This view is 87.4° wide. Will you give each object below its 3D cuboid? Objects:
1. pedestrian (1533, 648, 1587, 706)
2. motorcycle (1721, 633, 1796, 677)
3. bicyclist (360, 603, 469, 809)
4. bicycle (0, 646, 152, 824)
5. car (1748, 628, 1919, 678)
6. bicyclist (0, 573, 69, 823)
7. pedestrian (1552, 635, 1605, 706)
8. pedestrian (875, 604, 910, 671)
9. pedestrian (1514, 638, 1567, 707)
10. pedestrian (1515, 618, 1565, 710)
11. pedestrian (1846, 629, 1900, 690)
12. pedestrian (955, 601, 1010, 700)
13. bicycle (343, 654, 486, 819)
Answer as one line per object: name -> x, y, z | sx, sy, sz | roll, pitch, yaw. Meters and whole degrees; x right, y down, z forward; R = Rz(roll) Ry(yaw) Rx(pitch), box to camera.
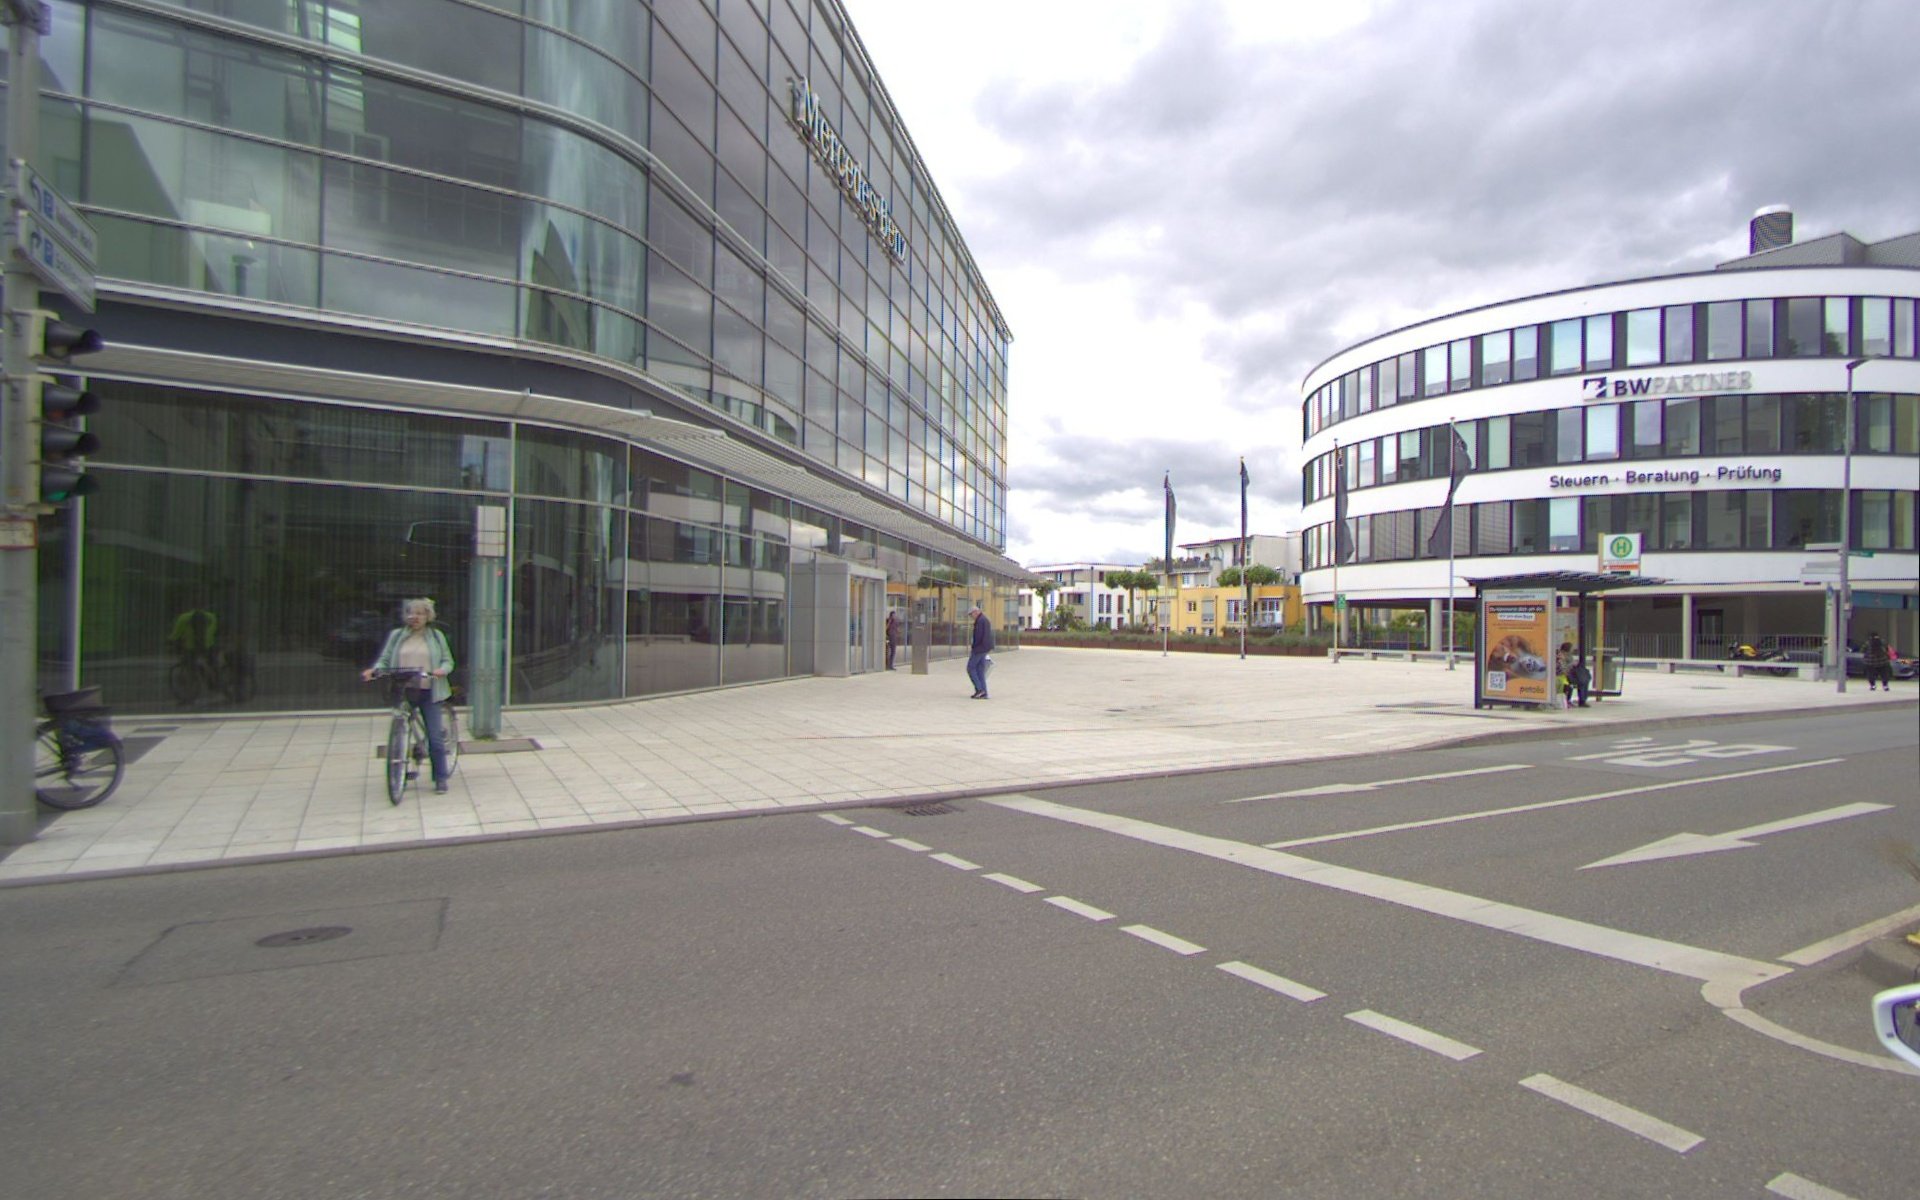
pedestrian -> 11.521, 1.470, 19.294 | 0.570, 1.089, 0.681 | 1, -3, -32
motorcycle -> 26.842, 1.846, 33.795 | 0.628, 1.351, 1.848 | 1, 1, -26
bicyclist -> -4.683, 0.877, 8.662 | 0.628, 1.671, 0.782 | 1, 1, -15
bicycle -> -7.370, 1.023, 7.517 | 0.732, 1.222, 2.032 | 2, 1, 14
car -> 30.489, 1.792, 34.952 | 1.877, 1.434, 4.443 | 1, 0, -25
bicyclist -> -7.377, 0.714, 7.514 | 0.732, 1.824, 0.774 | 2, 1, 14
pedestrian -> 12.088, 1.368, 19.640 | 0.570, 1.337, 0.681 | 1, -3, -32
pedestrian -> -2.006, 1.112, 29.983 | 0.745, 1.971, 0.678 | 1, 0, -43
pedestrian -> 10.976, 1.352, 19.005 | 0.570, 1.270, 0.681 | 1, -2, -32
pedestrian -> 10.624, 1.156, 18.415 | 0.673, 1.652, 0.576 | -1, -2, 19
pedestrian -> 24.721, 1.596, 27.205 | 0.802, 1.588, 0.827 | 1, 0, -25
pedestrian -> 0.472, 1.022, 20.752 | 0.885, 1.971, 0.750 | 1, 0, 21
bicycle -> -4.757, 1.127, 8.896 | 0.628, 1.145, 2.000 | 1, 1, -15
